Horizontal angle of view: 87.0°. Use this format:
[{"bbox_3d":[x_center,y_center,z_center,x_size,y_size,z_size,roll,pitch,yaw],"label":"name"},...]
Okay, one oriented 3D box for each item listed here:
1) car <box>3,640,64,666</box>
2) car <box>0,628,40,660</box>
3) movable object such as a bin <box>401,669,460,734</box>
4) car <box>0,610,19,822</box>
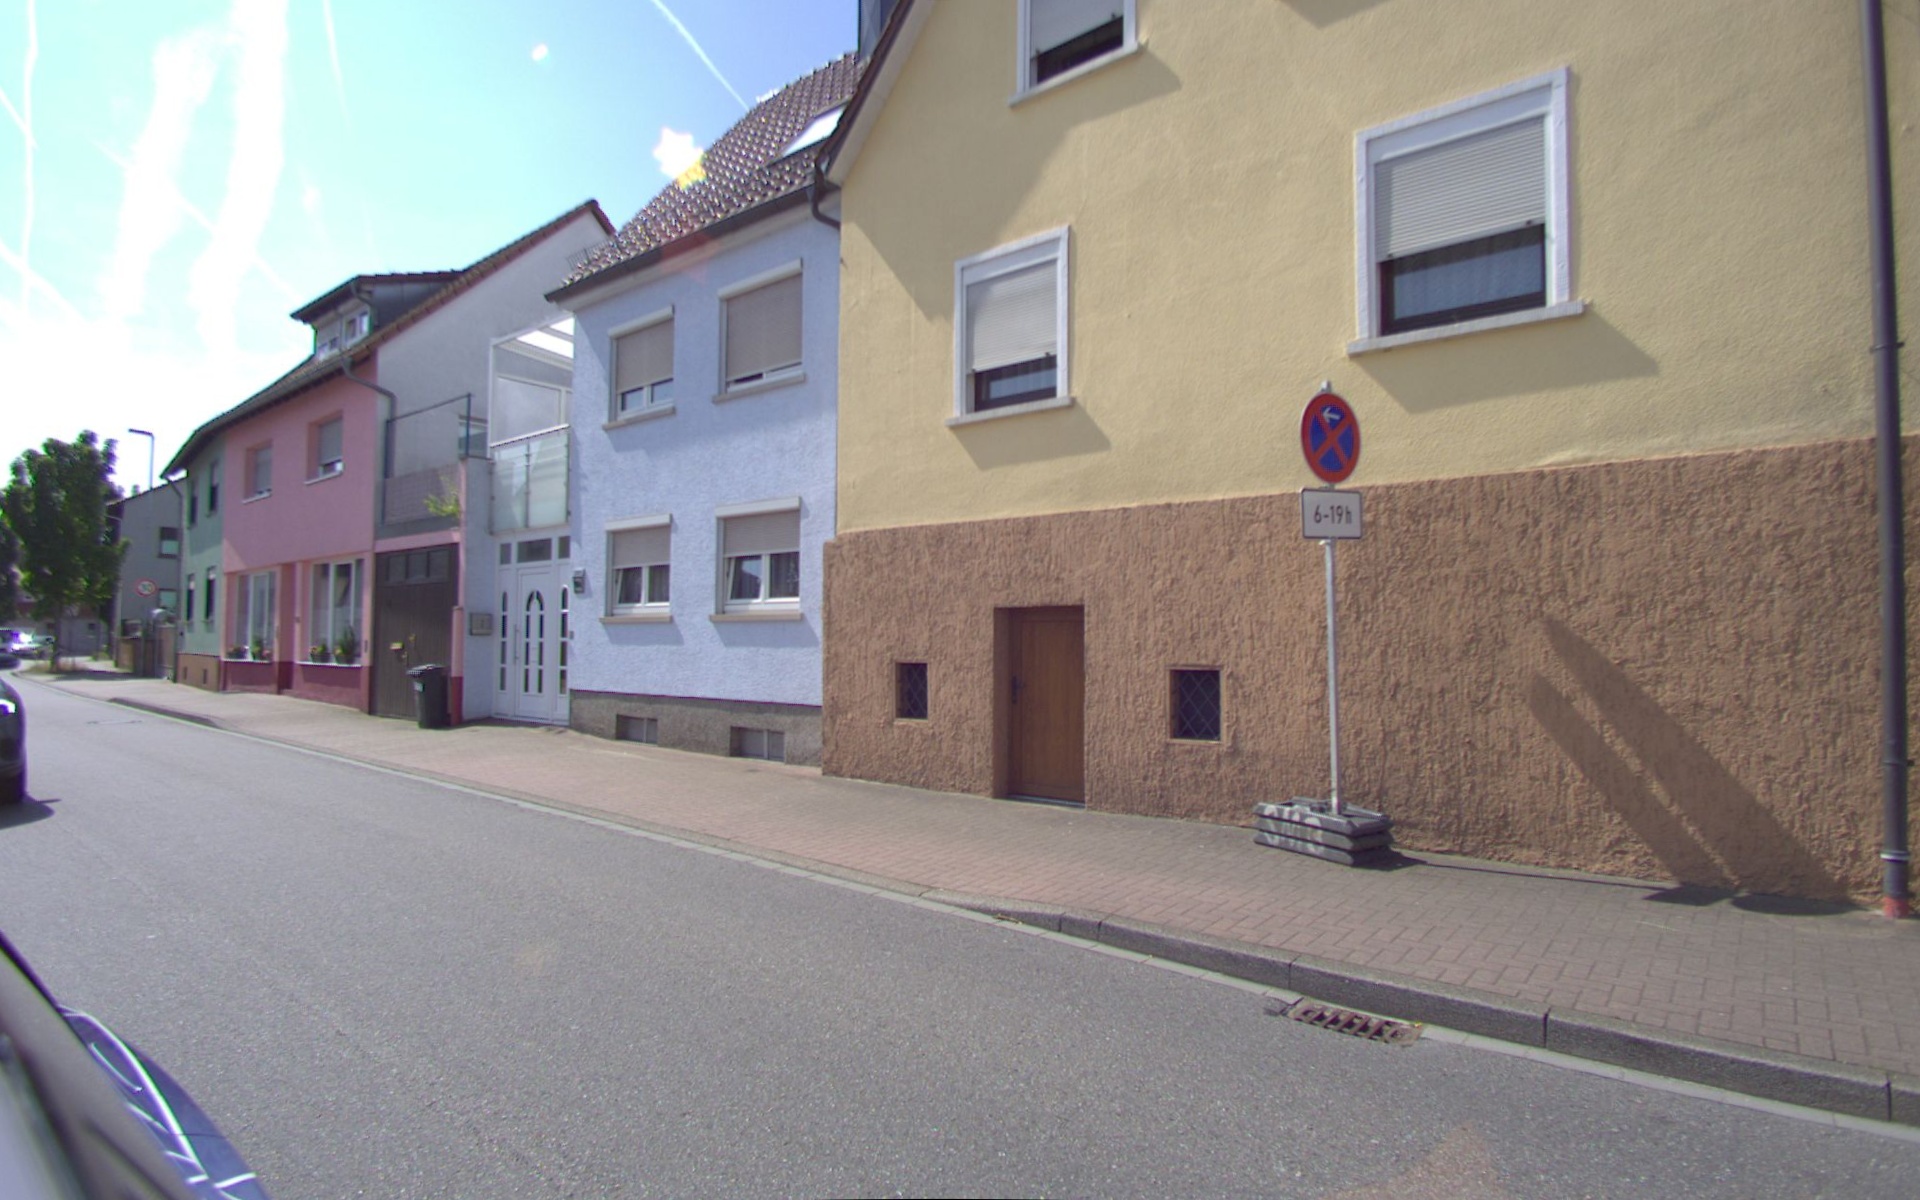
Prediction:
[{"bbox_3d":[-58.347,3.331,63.782,1.493,1.419,3.601,-1,0,-19],"label":"car"},{"bbox_3d":[-62.058,2.852,65.648,1.916,1.866,4.523,-1,0,-19],"label":"car"},{"bbox_3d":[-7.980,1.513,15.250,0.599,0.886,0.623,-1,0,42],"label":"movable object such as a bin"},{"bbox_3d":[-9.301,0.923,8.493,4.289,1.585,1.714,-2,-1,42],"label":"car"}]
